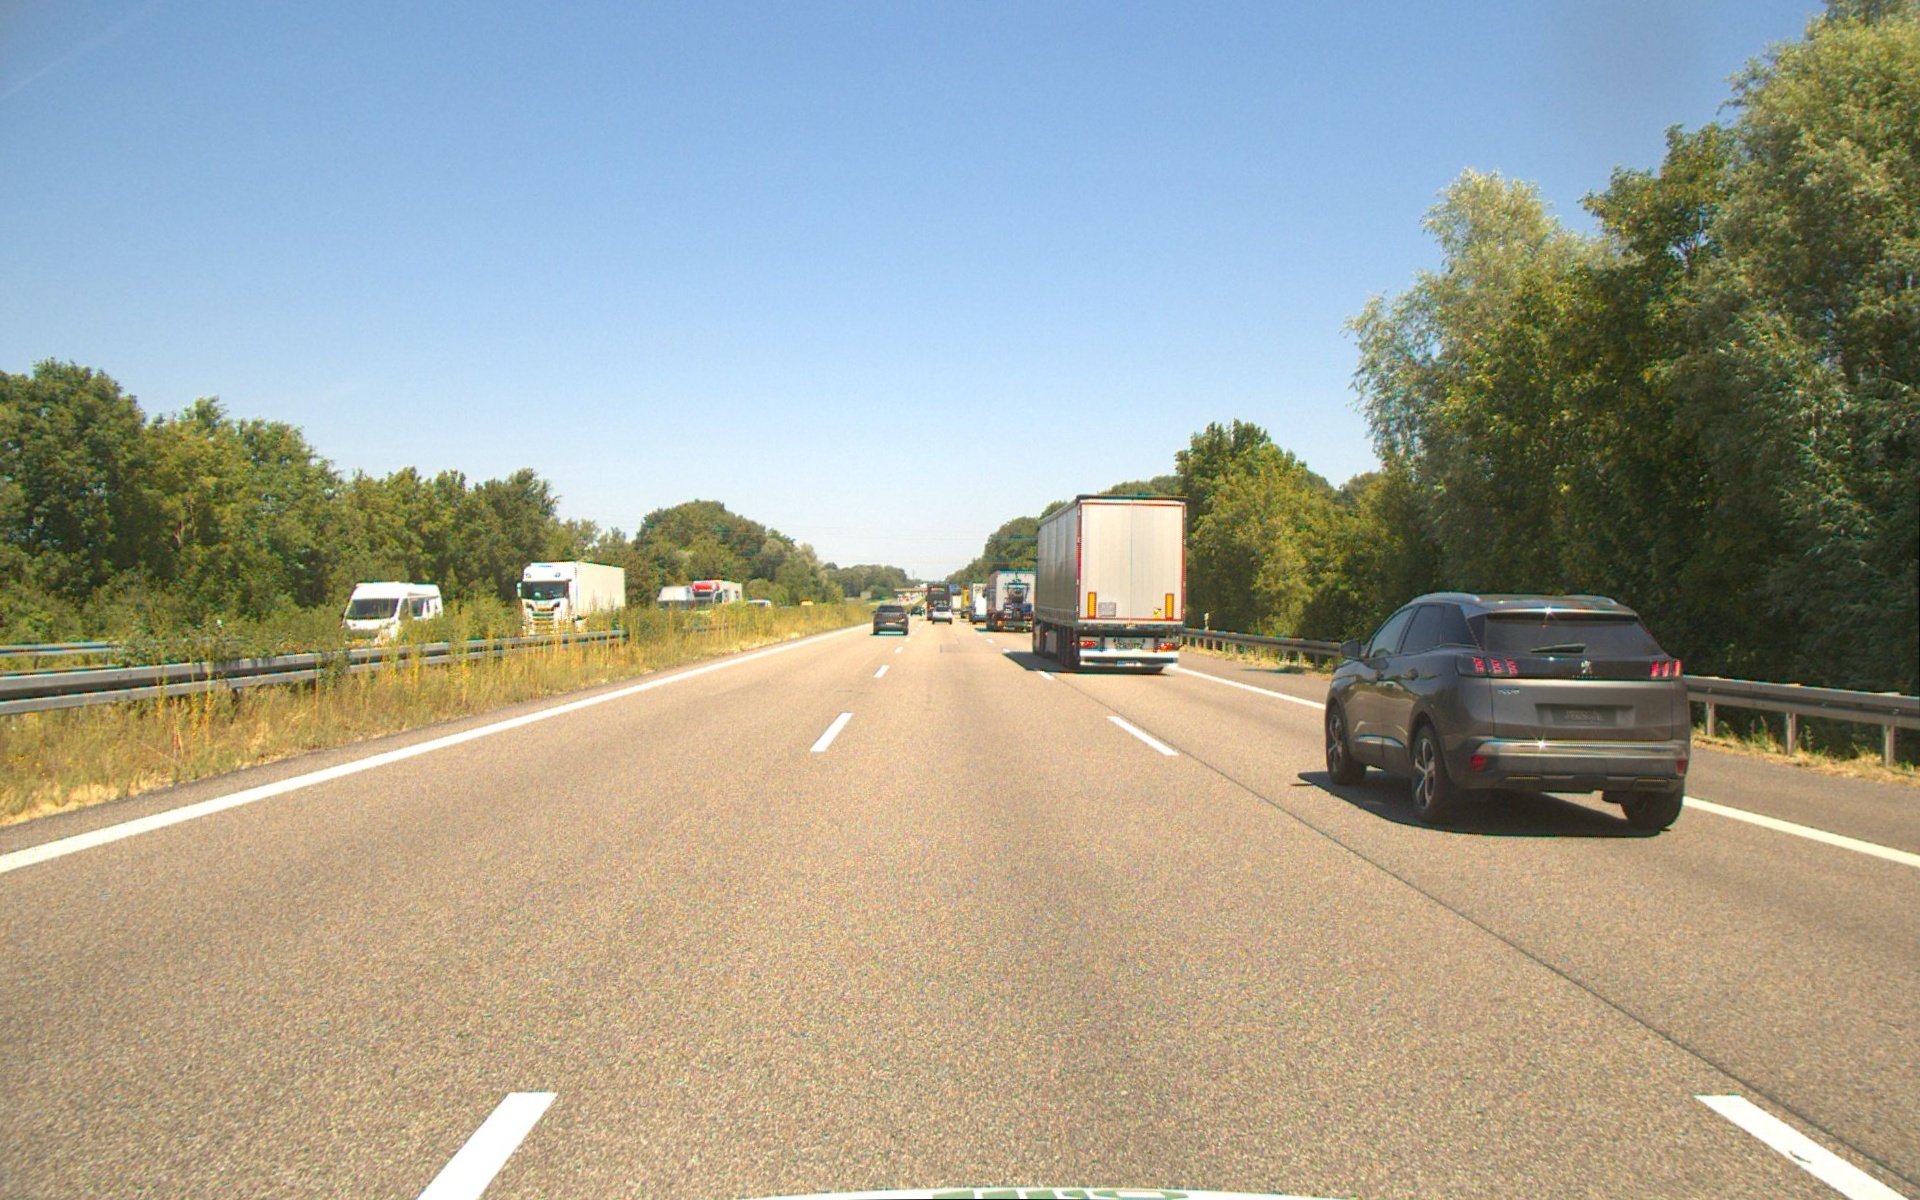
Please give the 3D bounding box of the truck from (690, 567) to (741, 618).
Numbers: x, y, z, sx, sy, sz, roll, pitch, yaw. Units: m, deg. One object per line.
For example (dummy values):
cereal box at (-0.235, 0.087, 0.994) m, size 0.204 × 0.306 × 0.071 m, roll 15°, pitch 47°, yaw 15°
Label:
truck at (-22.344, -0.749, 151.618) m, size 3.008 × 4.385 × 10.626 m, roll 1°, pitch 1°, yaw 0°

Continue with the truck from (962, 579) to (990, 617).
truck at (1.688, -0.273, 170.342) m, size 2.735 × 3.790 × 7.108 m, roll 1°, pitch 1°, yaw 0°

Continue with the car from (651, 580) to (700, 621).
car at (-16.920, 0.033, 98.517) m, size 2.164 × 2.404 × 5.296 m, roll -1°, pitch 0°, yaw -2°

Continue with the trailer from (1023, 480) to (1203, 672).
trailer at (3.725, -0.523, 44.258) m, size 3.365 × 4.254 × 13.630 m, roll 1°, pitch 0°, yaw -1°

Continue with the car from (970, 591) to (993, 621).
car at (1.908, 0.516, 146.128) m, size 1.869 × 2.467 × 4.285 m, roll 2°, pitch 1°, yaw -1°

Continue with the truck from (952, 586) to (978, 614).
truck at (0.690, -0.043, 229.522) m, size 3.417 × 3.790 × 7.108 m, roll 1°, pitch 1°, yaw 0°

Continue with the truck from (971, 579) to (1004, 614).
truck at (3.059, -0.465, 185.562) m, size 3.592 × 3.790 × 7.108 m, roll 1°, pitch 1°, yaw 0°

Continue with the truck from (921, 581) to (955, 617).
truck at (-2.426, -0.171, 185.164) m, size 3.592 × 3.790 × 7.108 m, roll 1°, pitch 1°, yaw 0°

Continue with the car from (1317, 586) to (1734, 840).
car at (4.145, 0.729, 12.875) m, size 1.807 × 1.657 × 4.134 m, roll 0°, pitch 0°, yaw 0°

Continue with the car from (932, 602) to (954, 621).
car at (-1.510, 0.997, 143.621) m, size 1.862 × 1.557 × 4.083 m, roll 2°, pitch 1°, yaw -1°

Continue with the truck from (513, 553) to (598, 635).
truck at (-21.735, -0.350, 89.126) m, size 3.009 × 4.183 × 6.524 m, roll 1°, pitch 1°, yaw -1°

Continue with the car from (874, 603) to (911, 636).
car at (-3.427, 0.984, 84.700) m, size 1.723 × 1.557 × 4.285 m, roll 2°, pitch 1°, yaw -1°

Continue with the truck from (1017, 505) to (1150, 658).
truck at (3.632, -0.475, 50.404) m, size 3.394 × 4.250 × 6.842 m, roll 1°, pitch -1°, yaw -1°

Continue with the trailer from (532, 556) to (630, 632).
trailer at (-21.850, -0.422, 96.068) m, size 2.985 × 4.109 × 12.232 m, roll 1°, pitch 1°, yaw -1°

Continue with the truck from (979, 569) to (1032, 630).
truck at (3.058, -0.122, 113.864) m, size 2.996 × 3.946 × 10.030 m, roll 1°, pitch 1°, yaw -2°

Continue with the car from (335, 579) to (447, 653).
car at (-20.337, 0.548, 59.413) m, size 2.060 × 2.506 × 6.014 m, roll -1°, pitch 0°, yaw -1°

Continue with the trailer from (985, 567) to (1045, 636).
trailer at (3.353, 0.027, 103.868) m, size 3.059 × 3.995 × 9.933 m, roll 1°, pitch 1°, yaw -2°
